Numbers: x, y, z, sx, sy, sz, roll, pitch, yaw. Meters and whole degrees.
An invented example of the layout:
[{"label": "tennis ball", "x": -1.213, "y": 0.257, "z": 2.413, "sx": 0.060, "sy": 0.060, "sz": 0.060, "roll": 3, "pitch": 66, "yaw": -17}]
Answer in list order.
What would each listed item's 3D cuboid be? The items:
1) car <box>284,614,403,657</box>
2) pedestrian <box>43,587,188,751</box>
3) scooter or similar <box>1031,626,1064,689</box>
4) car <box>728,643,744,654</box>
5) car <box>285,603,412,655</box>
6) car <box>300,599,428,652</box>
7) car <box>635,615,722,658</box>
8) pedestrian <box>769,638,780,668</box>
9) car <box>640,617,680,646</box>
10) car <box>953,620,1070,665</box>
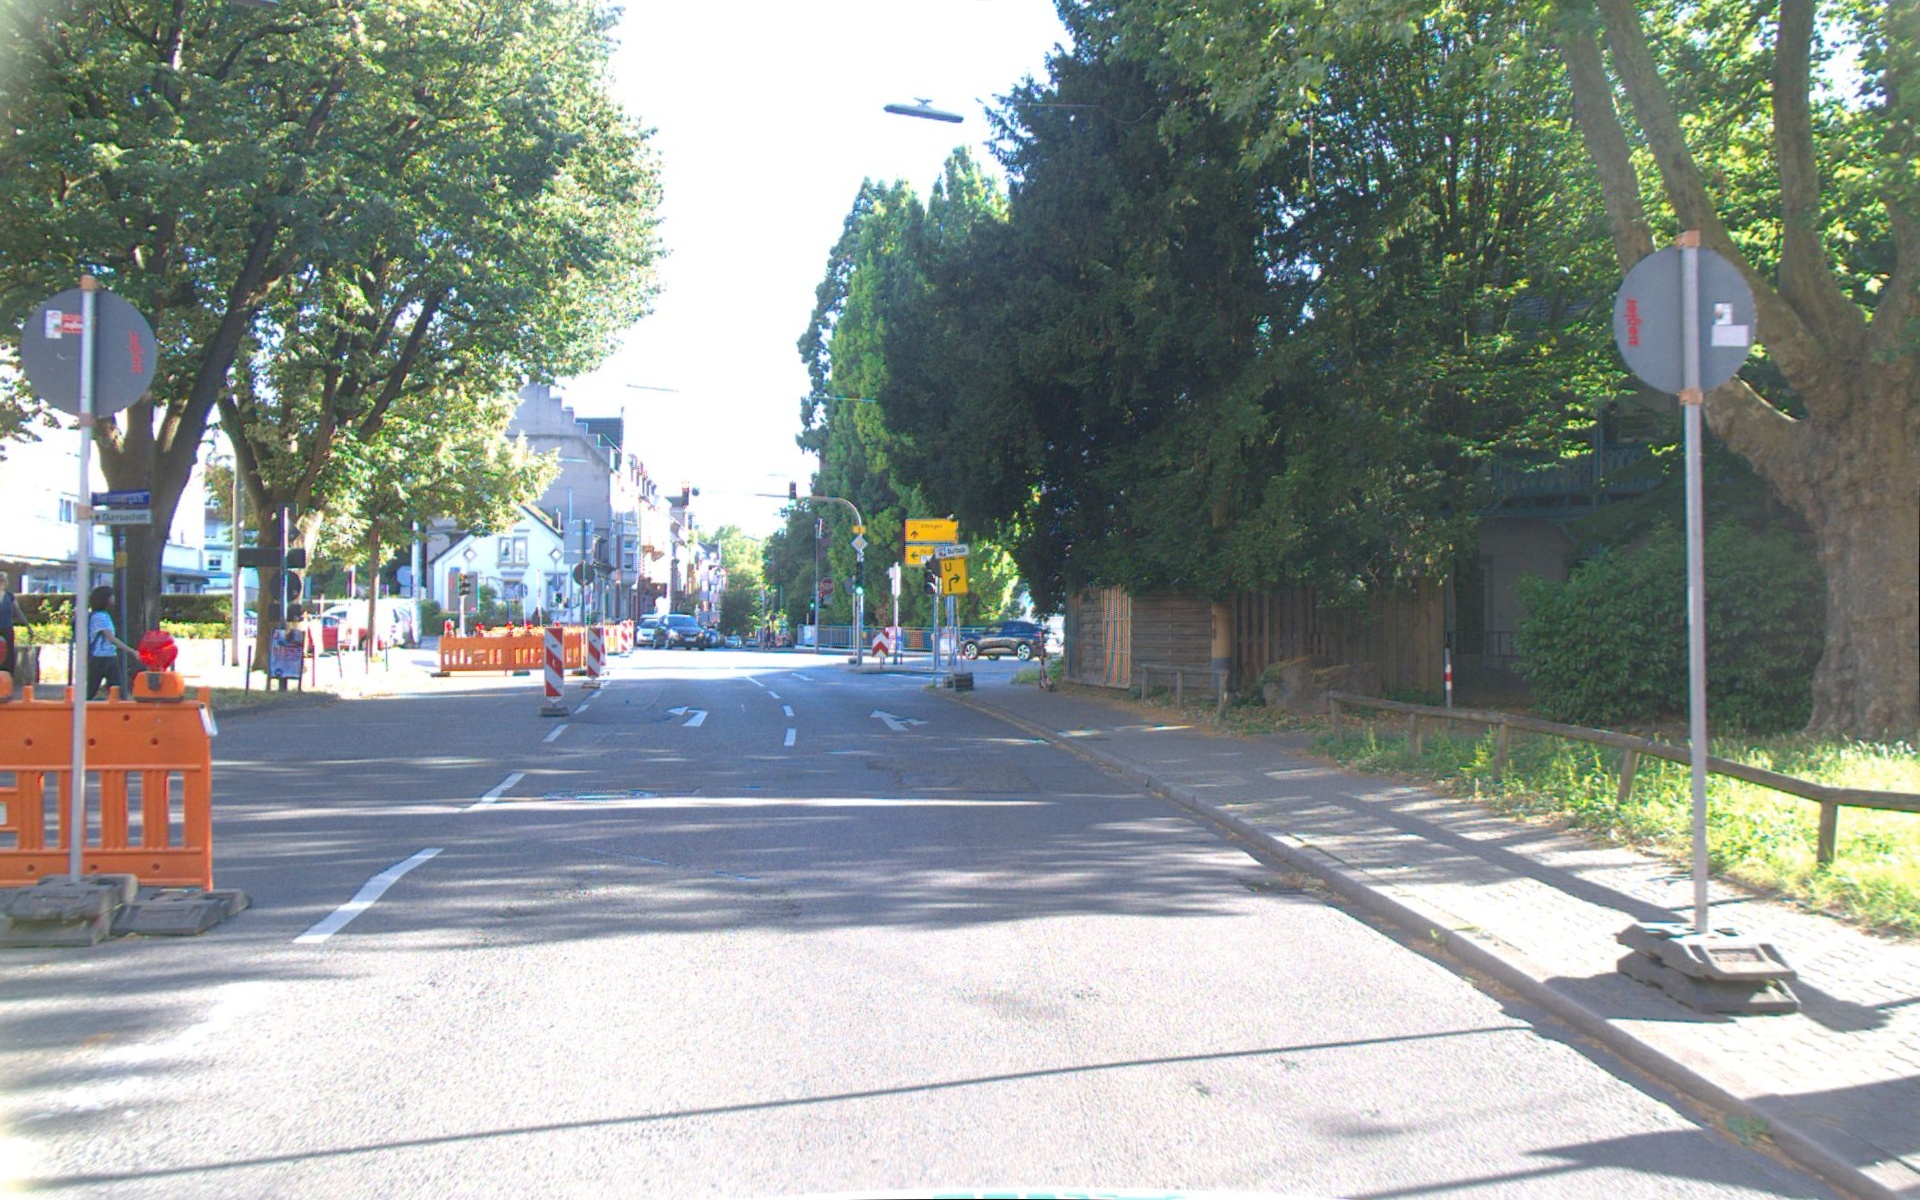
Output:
[{"label": "car", "x": -23.370, "y": 1.339, "z": 62.825, "sx": 3.922, "sy": 1.505, "sz": 1.993, "roll": 2, "pitch": -1, "yaw": -13}, {"label": "pedestrian", "x": -9.663, "y": 0.772, "z": 18.984, "sx": 1.022, "sy": 1.812, "sz": 1.191, "roll": 1, "pitch": -1, "yaw": -1}, {"label": "scooter or similar", "x": 1.752, "y": 1.137, "z": 33.087, "sx": 0.429, "sy": 1.223, "sz": 1.257, "roll": -2, "pitch": -1, "yaw": -6}, {"label": "car", "x": -31.457, "y": 6.815, "z": 232.341, "sx": 1.955, "sy": 1.518, "sz": 4.465, "roll": 0, "pitch": -1, "yaw": -5}, {"label": "car", "x": -24.064, "y": 1.154, "z": 65.228, "sx": 4.231, "sy": 1.884, "sz": 1.997, "roll": 2, "pitch": -1, "yaw": -7}, {"label": "car", "x": -24.464, "y": 1.048, "z": 68.034, "sx": 4.584, "sy": 1.999, "sz": 2.111, "roll": 2, "pitch": -1, "yaw": -11}, {"label": "car", "x": -13.174, "y": 1.679, "z": 77.369, "sx": 1.985, "sy": 1.847, "sz": 4.182, "roll": -2, "pitch": 2, "yaw": -44}, {"label": "pedestrian", "x": -10.678, "y": 3.054, "z": 95.261, "sx": 0.591, "sy": 1.723, "sz": 0.611, "roll": 0, "pitch": -1, "yaw": -7}, {"label": "car", "x": -17.183, "y": 1.791, "z": 94.511, "sx": 1.747, "sy": 1.570, "sz": 3.980, "roll": 2, "pitch": -1, "yaw": -17}, {"label": "car", "x": 2.154, "y": 1.781, "z": 69.444, "sx": 4.571, "sy": 1.700, "sz": 1.992, "roll": 0, "pitch": -4, "yaw": 36}]
